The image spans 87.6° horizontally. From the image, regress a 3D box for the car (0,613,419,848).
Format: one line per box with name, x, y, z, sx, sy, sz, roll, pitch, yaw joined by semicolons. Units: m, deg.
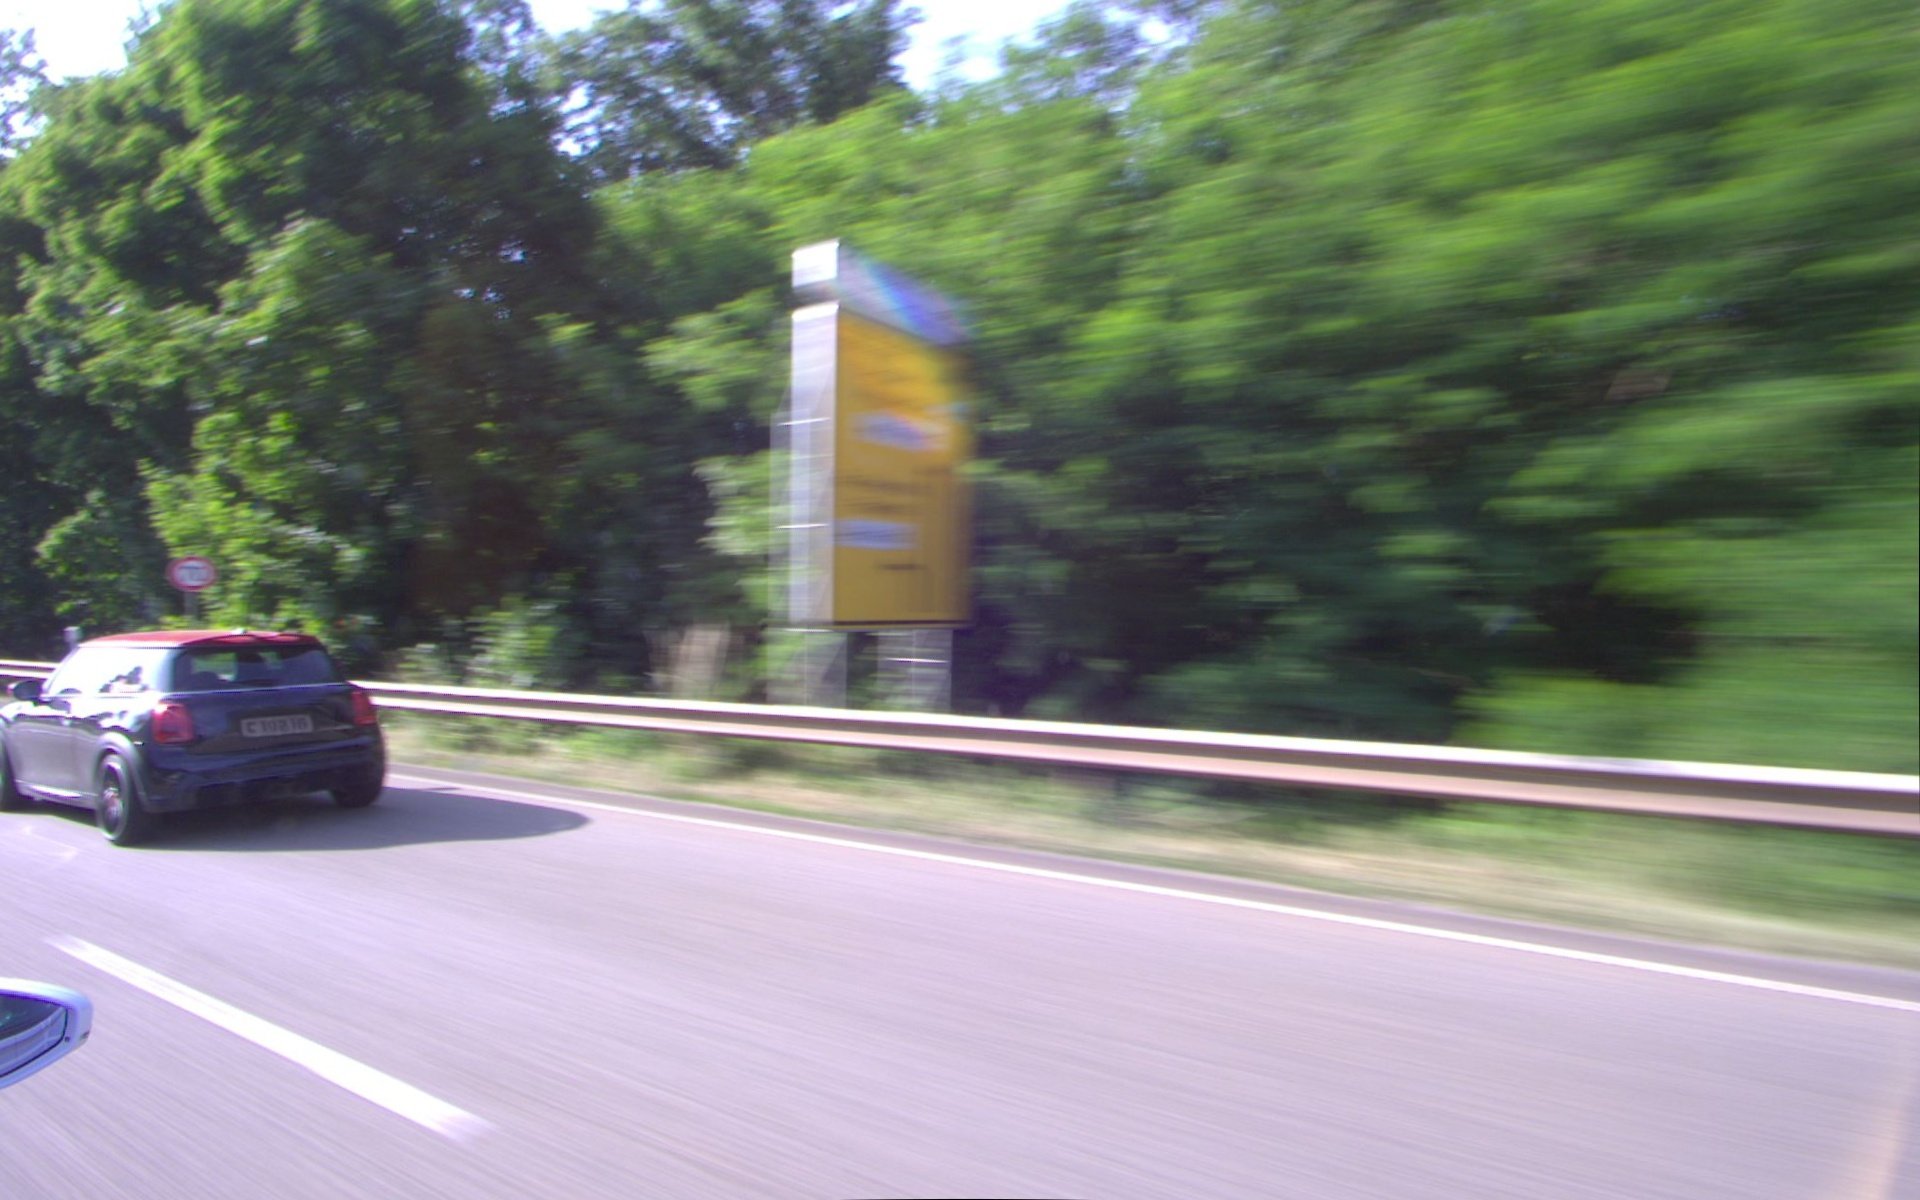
car;-6.387;0.880;8.204;3.818;1.486;1.817;0;-2;33
